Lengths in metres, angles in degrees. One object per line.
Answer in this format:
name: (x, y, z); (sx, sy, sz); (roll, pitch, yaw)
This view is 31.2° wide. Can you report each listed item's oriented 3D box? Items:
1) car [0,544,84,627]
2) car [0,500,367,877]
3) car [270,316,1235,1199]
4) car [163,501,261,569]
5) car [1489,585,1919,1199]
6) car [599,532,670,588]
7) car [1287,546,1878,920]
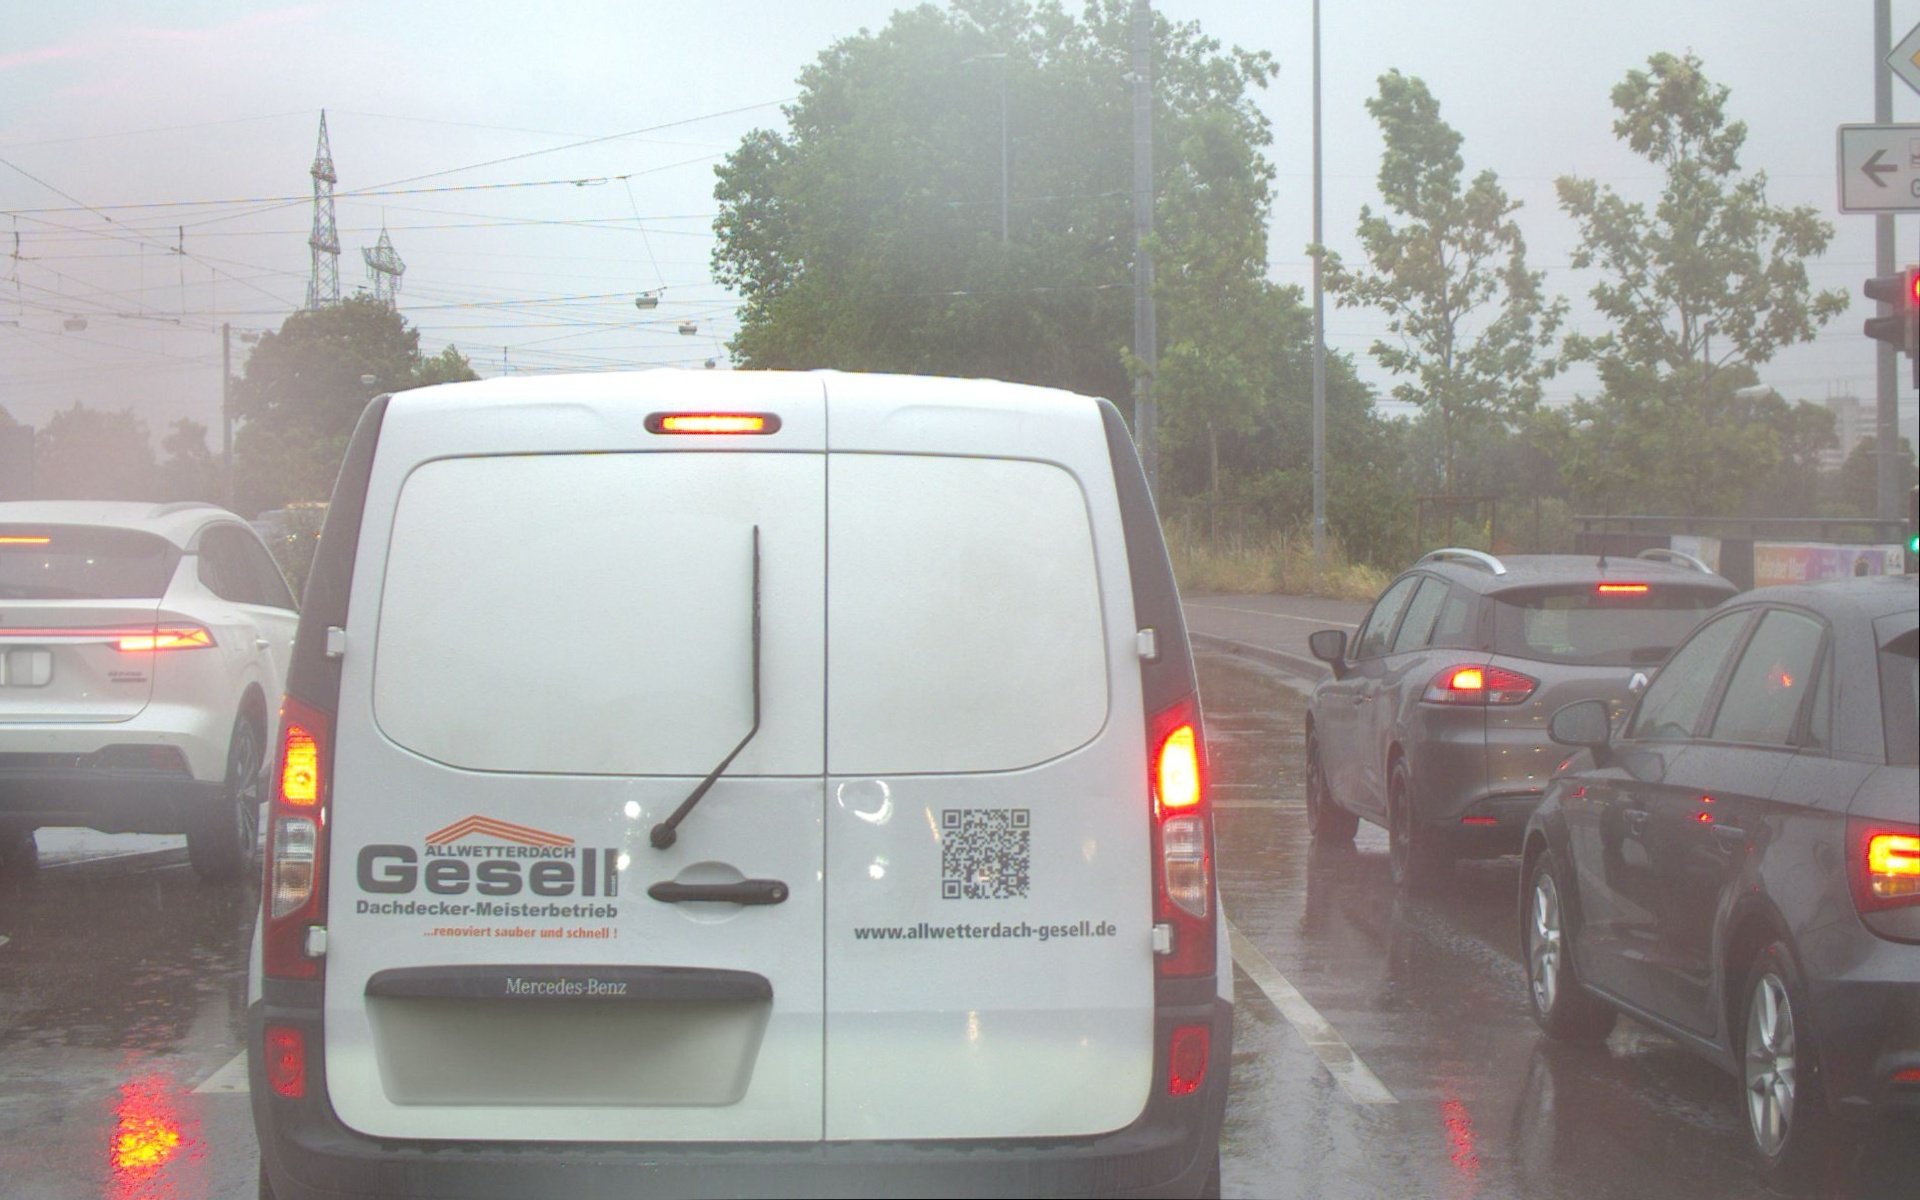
car: (-21.332, -0.342, 77.430); (1.929, 1.820, 3.999); (1, 1, 4)
car: (-3.974, 0.302, 16.154); (1.728, 1.530, 4.298); (1, 1, -2)
car: (-0.360, 0.407, 7.609); (1.566, 1.782, 4.000); (0, 1, -1)
car: (-22.580, -1.953, 103.928); (1.993, 2.007, 4.000); (1, 1, 1)
car: (2.523, 0.655, 8.925); (1.629, 1.340, 3.624); (1, 1, -2)
car: (-8.932, -1.092, 94.232); (1.614, 1.498, 3.716); (1, 1, -10)
car: (2.649, 0.500, 15.528); (1.859, 1.424, 3.808); (1, 1, -2)
